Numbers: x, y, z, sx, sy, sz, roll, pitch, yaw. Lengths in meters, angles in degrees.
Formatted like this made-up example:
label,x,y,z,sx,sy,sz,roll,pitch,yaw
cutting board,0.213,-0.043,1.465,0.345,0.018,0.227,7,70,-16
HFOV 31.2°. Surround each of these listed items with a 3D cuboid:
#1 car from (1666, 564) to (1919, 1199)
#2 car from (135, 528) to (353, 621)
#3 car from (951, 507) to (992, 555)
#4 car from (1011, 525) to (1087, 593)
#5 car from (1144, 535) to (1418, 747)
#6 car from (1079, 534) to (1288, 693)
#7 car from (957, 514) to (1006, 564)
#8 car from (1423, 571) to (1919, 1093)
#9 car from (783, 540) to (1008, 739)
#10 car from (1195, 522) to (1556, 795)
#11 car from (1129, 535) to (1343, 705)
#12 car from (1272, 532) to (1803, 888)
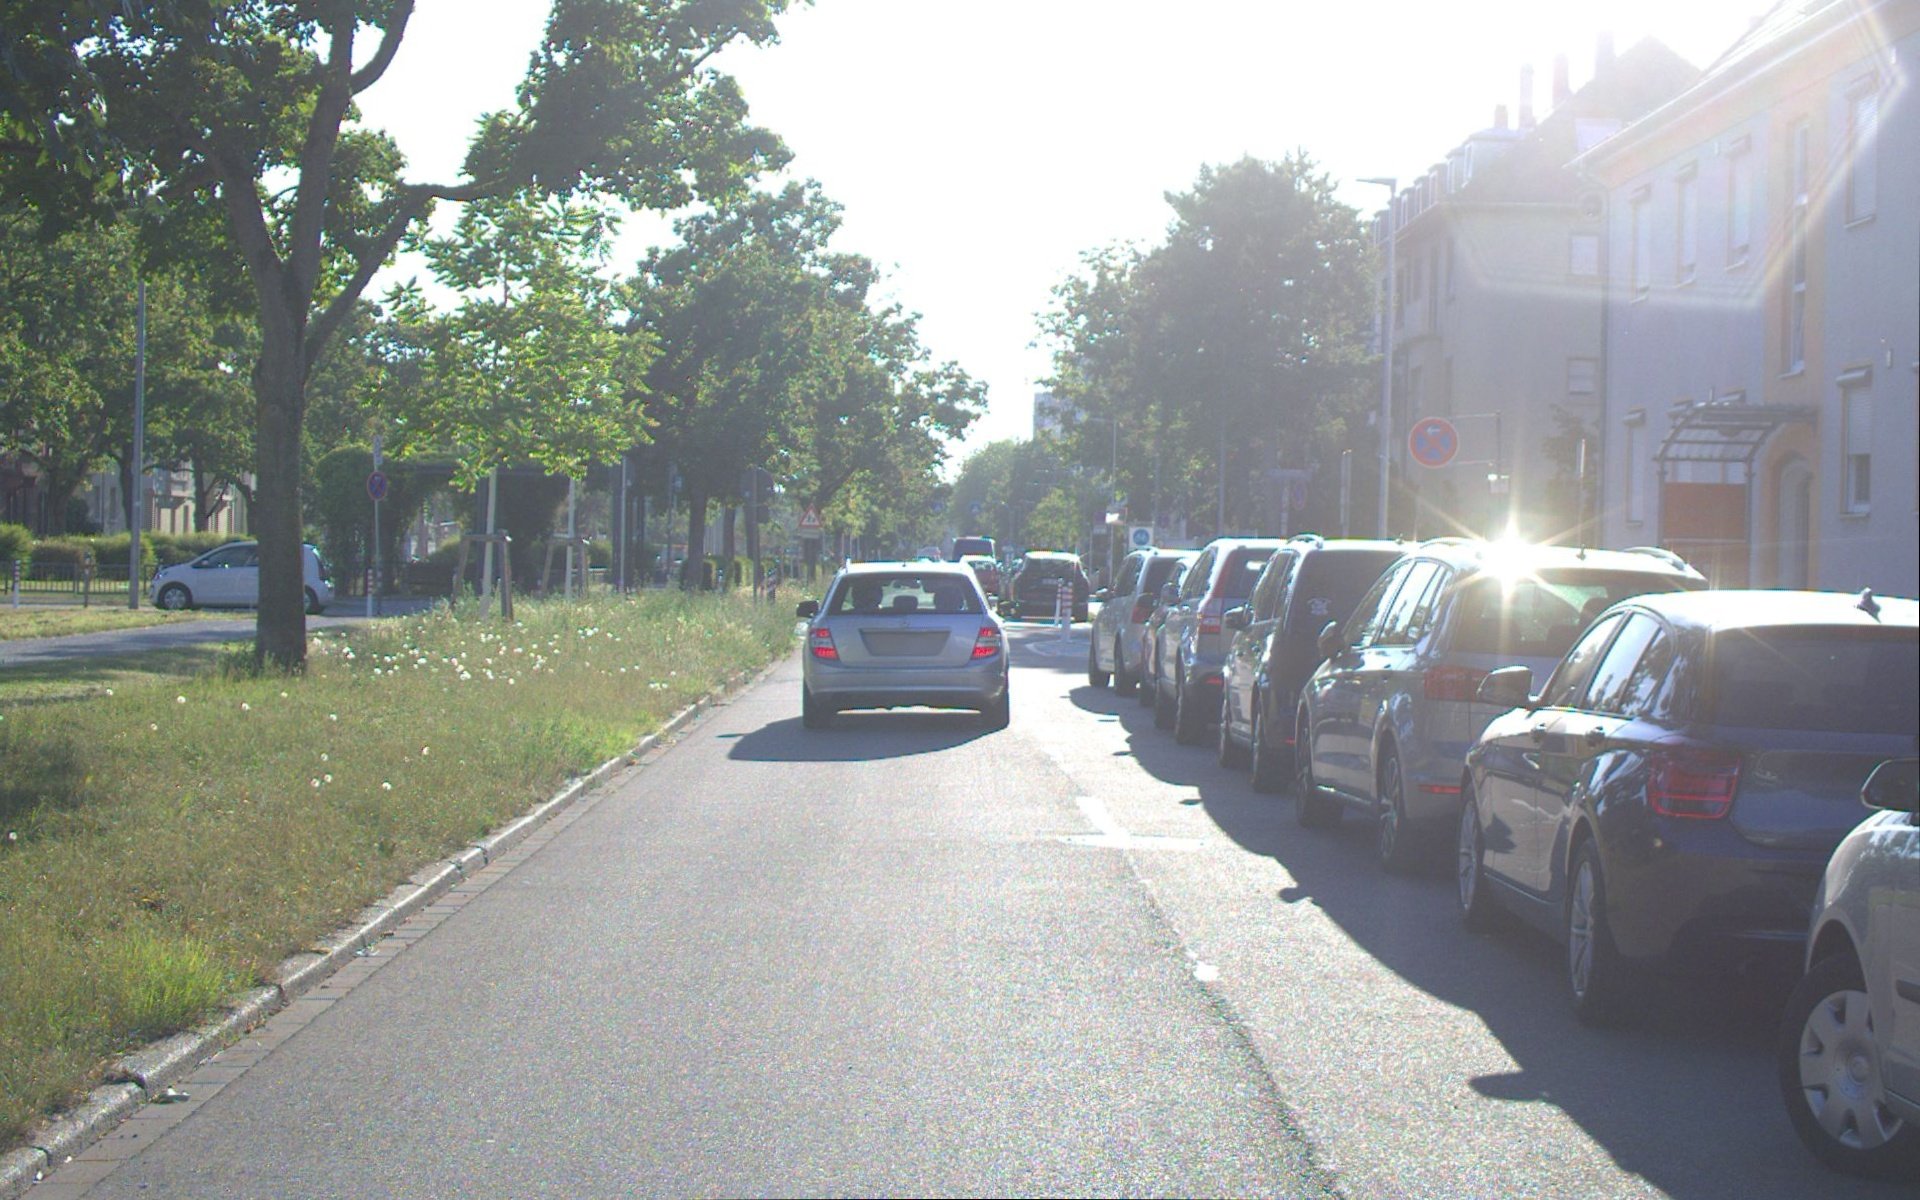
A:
label,x,y,z,sx,sy,sz,roll,pitch,yaw
car,2.994,0.768,7.560,1.728,1.543,4.208,5,0,-3
car,-14.064,-0.502,67.734,3.893,1.590,2.000,-3,0,-4
car,0.541,-3.187,159.259,1.861,2.185,5.070,1,1,0
car,2.118,-0.977,82.873,1.721,1.591,4.000,0,0,0
car,2.605,0.280,28.923,1.777,1.637,4.757,0,1,-1
car,2.472,0.102,39.118,1.716,1.633,4.565,2,1,-4
car,0.879,-2.496,141.211,1.988,2.016,4.000,1,1,0
car,2.984,0.689,12.508,1.993,1.457,4.562,2,1,1
car,-0.524,0.286,30.139,1.823,1.561,4.000,-1,2,0
car,2.715,0.335,23.487,1.765,1.629,4.765,2,1,-1
car,2.662,0.152,33.861,1.729,1.521,3.735,-1,1,-1
car,2.802,0.454,17.681,1.724,1.556,4.417,1,1,-3
